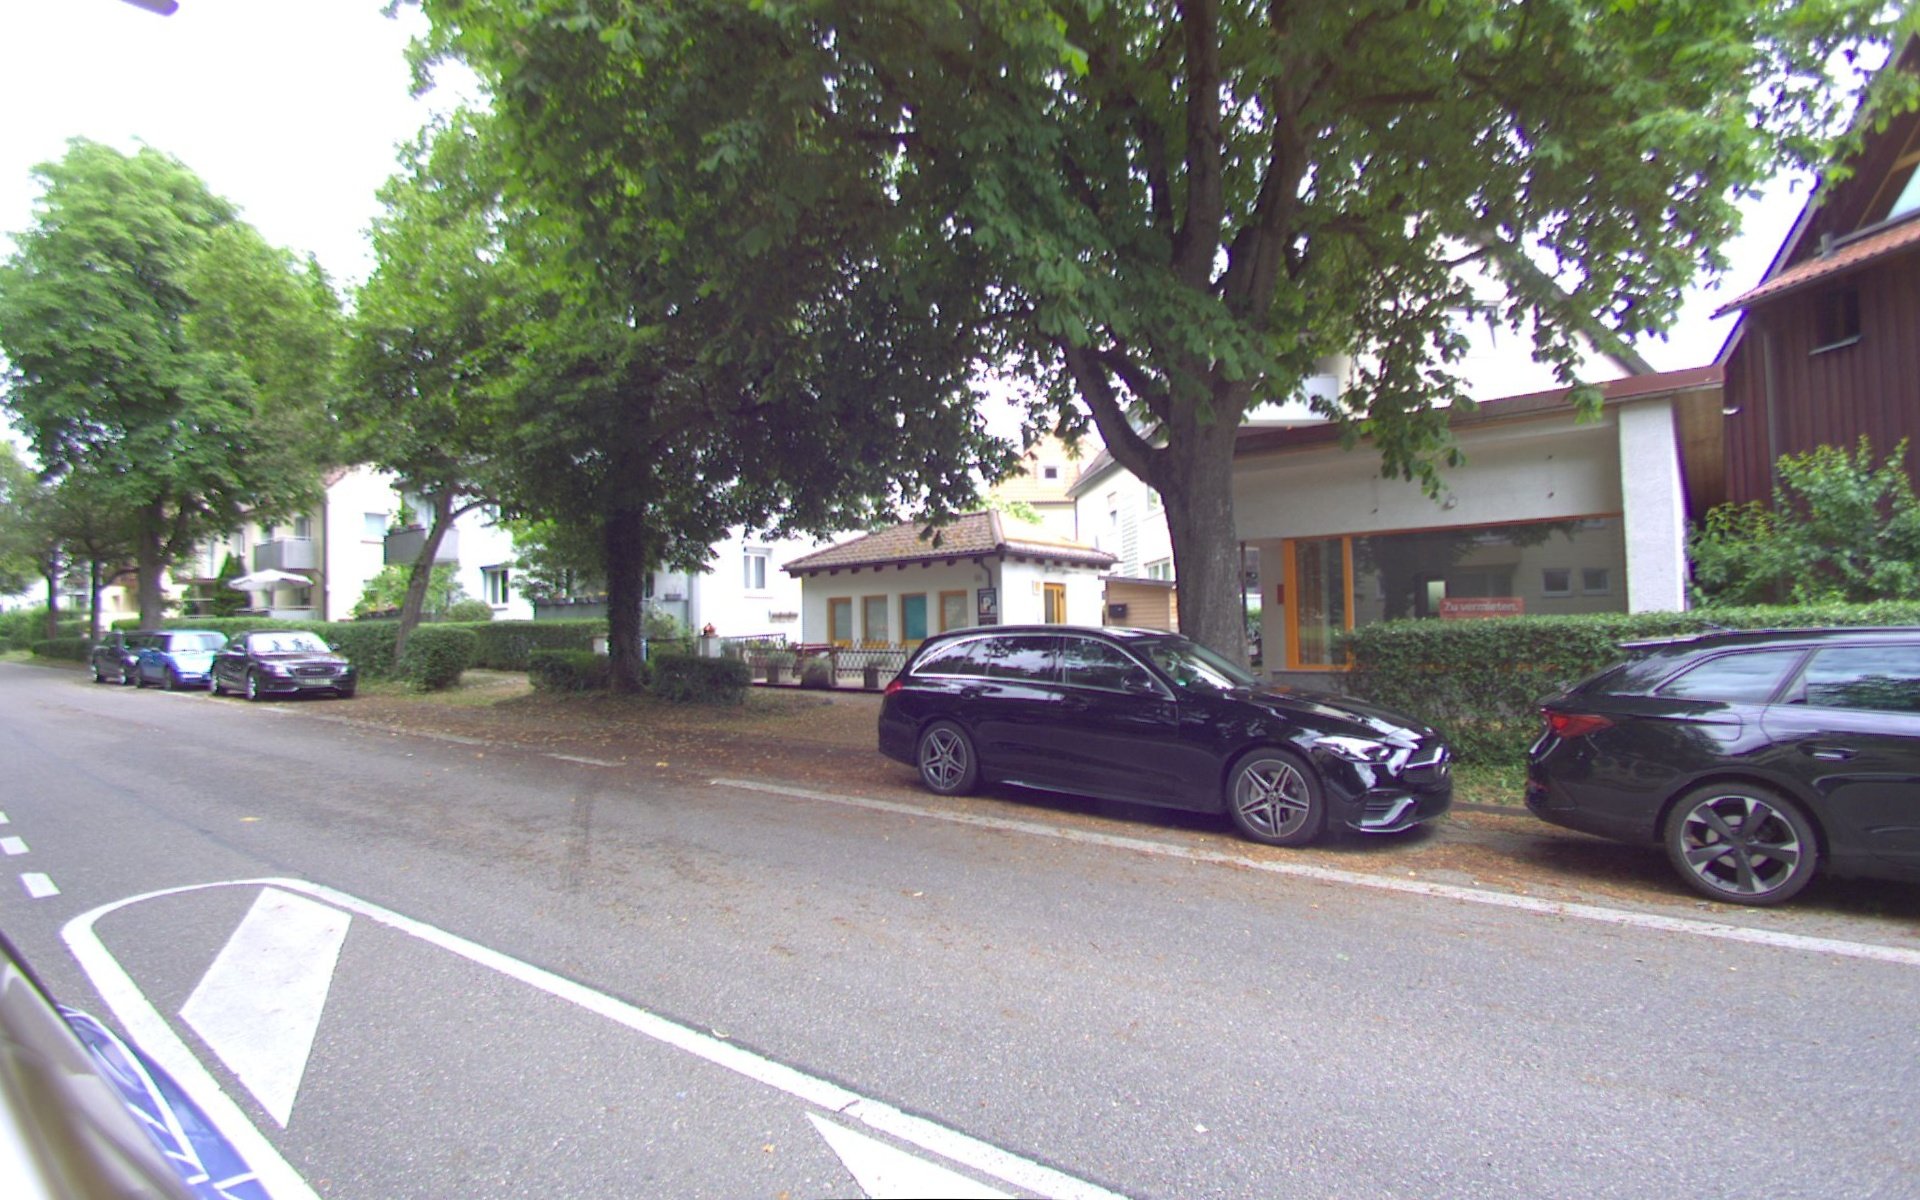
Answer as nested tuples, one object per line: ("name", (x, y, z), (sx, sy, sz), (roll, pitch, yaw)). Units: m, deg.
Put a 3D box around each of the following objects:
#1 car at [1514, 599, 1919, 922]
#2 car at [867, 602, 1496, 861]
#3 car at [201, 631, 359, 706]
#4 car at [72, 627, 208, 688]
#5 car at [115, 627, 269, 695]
("car", (5.443, 0.750, 4.991), (4.536, 1.497, 1.674), (-2, -3, 38))
("car", (1.548, 0.858, 8.204), (4.612, 1.511, 1.973), (-2, -3, 41))
("car", (-14.228, 1.369, 21.098), (4.169, 1.414, 1.713), (-2, -3, 41))
("car", (-22.610, 1.552, 27.858), (4.558, 1.545, 1.866), (-2, -3, 37))
("car", (-18.922, 1.454, 24.865), (4.558, 1.512, 1.866), (-2, -3, 37))
